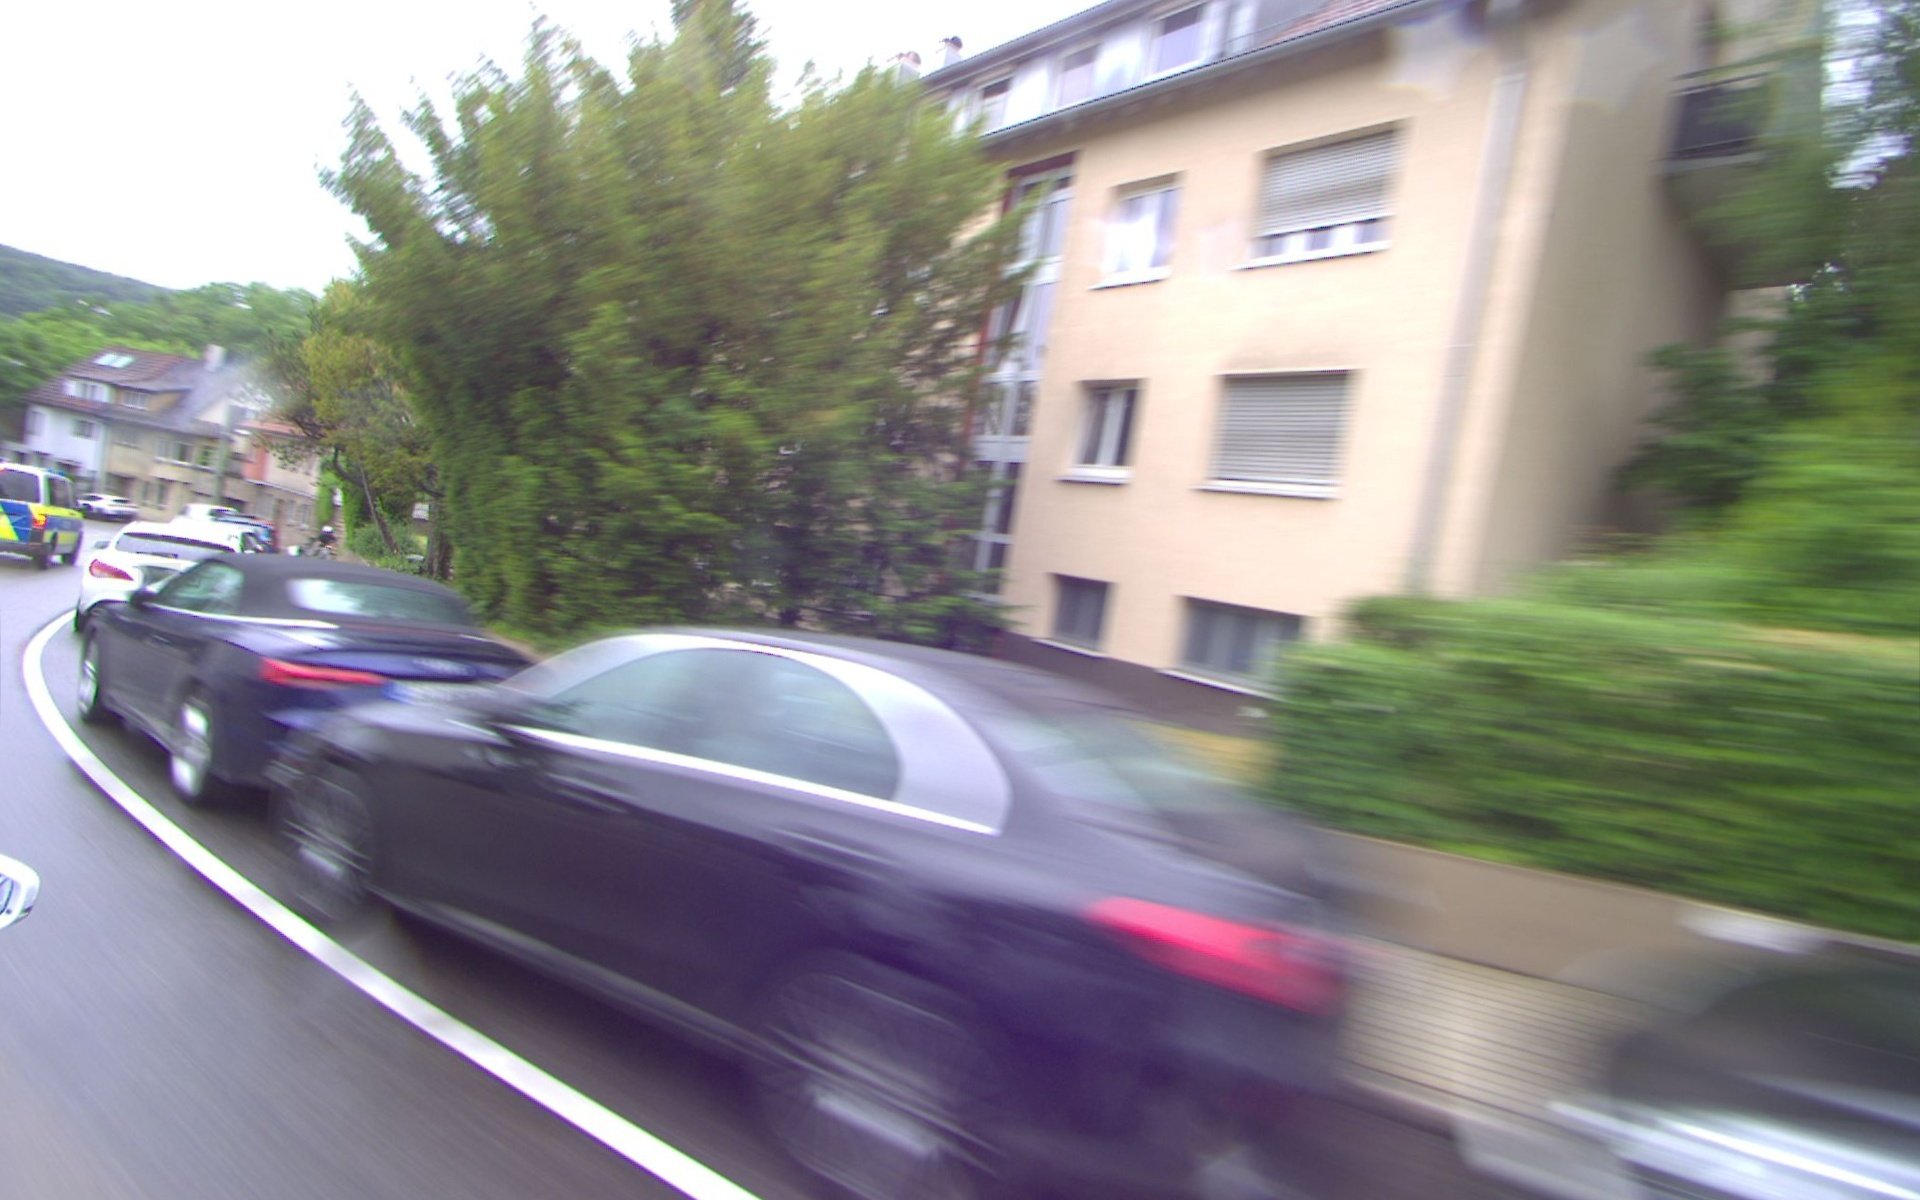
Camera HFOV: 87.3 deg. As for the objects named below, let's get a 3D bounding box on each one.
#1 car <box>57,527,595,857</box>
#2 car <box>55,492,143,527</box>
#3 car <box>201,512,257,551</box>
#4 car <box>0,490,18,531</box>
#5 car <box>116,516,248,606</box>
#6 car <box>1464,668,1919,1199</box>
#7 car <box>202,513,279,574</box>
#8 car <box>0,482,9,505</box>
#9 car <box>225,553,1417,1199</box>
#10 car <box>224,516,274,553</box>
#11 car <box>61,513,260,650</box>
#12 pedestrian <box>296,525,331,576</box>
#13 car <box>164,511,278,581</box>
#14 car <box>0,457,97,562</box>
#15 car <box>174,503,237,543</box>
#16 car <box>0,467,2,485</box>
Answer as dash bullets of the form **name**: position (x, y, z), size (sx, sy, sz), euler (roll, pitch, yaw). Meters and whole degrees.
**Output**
- **car**: position (-4.570, 0.385, 6.906), size (4.554, 1.365, 1.804), euler (7, 1, 41)
- **car**: position (-51.961, -5.463, 60.710), size (4.331, 1.559, 1.918), euler (7, 3, 16)
- **car**: position (-38.620, -3.642, 53.103), size (4.352, 1.626, 1.610), euler (9, 4, 44)
- **car**: position (-36.070, -3.429, 36.939), size (1.643, 1.435, 3.762), euler (11, -2, -38)
- **car**: position (-16.180, -0.881, 21.110), size (1.797, 1.473, 4.213), euler (8, -1, -34)
- **car**: position (2.926, 1.154, 1.574), size (3.673, 1.492, 1.683), euler (8, 3, 27)
- **car**: position (-22.972, -1.842, 32.234), size (1.724, 1.612, 4.213), euler (8, 0, -34)
- **car**: position (-61.440, -6.818, 61.849), size (4.119, 1.386, 1.783), euler (6, 3, -3)
- **car**: position (-0.812, 0.788, 3.976), size (4.456, 1.454, 1.808), euler (7, 1, 32)
- **car**: position (-35.073, -3.256, 49.594), size (1.608, 1.455, 3.537), euler (4, 4, -42)
- **car**: position (-10.764, -0.345, 13.807), size (1.768, 1.454, 4.524), euler (5, 1, -36)
- **pedestrian**: position (-22.610, -1.739, 35.199), size (0.604, 1.670, 0.621), euler (8, -1, 30)
- **car**: position (-19.581, -1.449, 26.830), size (1.676, 1.473, 4.223), euler (8, -1, -28)
- **car**: position (-19.744, -1.889, 20.936), size (1.980, 1.916, 4.531), euler (7, -1, -33)
- **car**: position (-42.325, -4.345, 56.418), size (4.259, 1.815, 1.703), euler (8, 4, 37)
- **car**: position (-66.121, -8.484, 65.876), size (1.964, 1.874, 4.386), euler (10, 13, 25)
